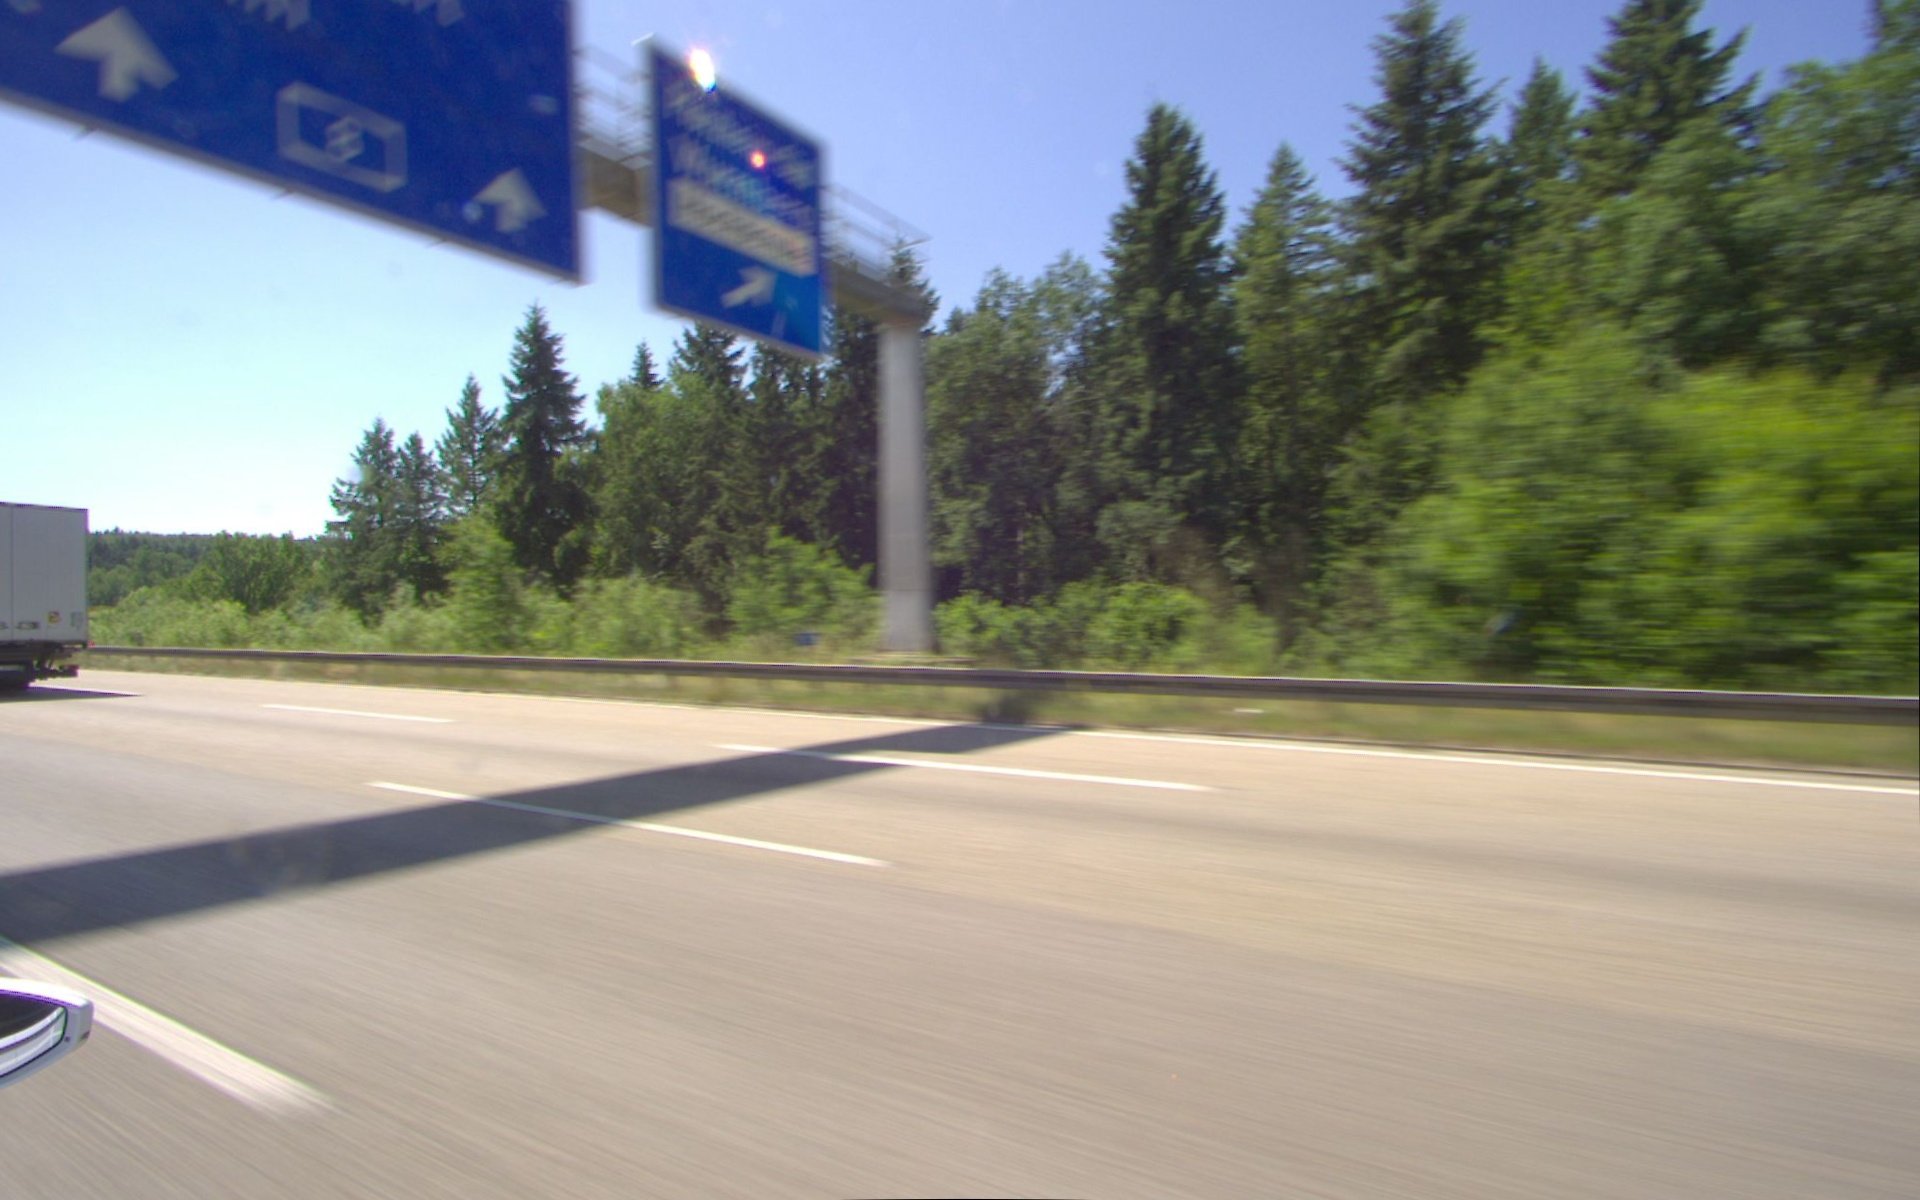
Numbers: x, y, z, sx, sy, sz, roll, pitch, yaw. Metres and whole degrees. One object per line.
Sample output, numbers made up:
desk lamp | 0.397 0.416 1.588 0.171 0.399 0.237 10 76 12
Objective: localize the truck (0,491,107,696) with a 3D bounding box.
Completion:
truck | -23.453 -0.015 23.244 9.600 4.181 2.779 -1 -2 32
